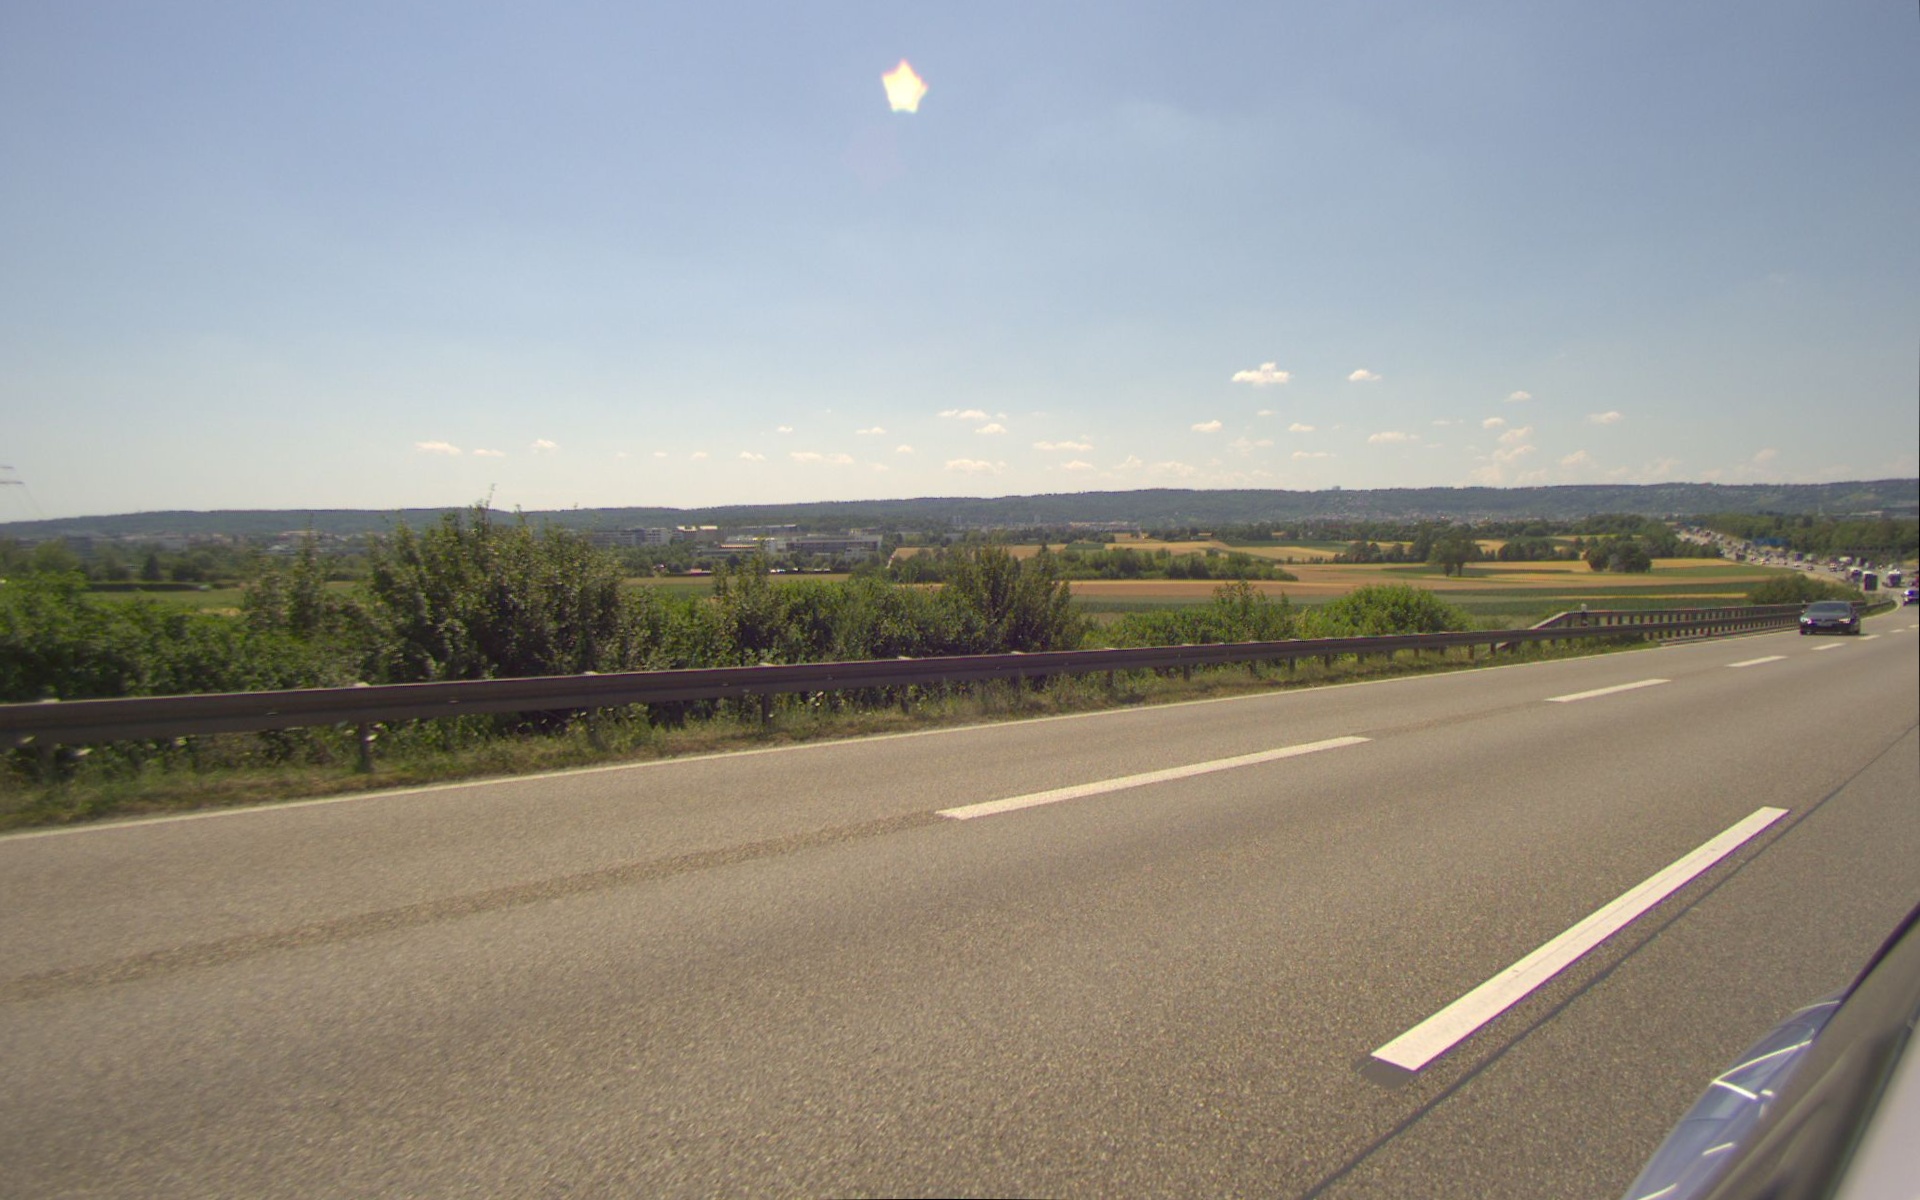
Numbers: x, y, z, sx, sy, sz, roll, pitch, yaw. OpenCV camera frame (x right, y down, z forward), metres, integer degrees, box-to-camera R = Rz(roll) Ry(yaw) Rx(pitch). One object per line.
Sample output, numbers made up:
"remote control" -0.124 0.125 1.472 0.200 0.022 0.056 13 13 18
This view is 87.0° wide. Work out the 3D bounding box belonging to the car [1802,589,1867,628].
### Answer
"car" 37.987 0.332 43.929 2.031 1.571 3.939 0 0 42
